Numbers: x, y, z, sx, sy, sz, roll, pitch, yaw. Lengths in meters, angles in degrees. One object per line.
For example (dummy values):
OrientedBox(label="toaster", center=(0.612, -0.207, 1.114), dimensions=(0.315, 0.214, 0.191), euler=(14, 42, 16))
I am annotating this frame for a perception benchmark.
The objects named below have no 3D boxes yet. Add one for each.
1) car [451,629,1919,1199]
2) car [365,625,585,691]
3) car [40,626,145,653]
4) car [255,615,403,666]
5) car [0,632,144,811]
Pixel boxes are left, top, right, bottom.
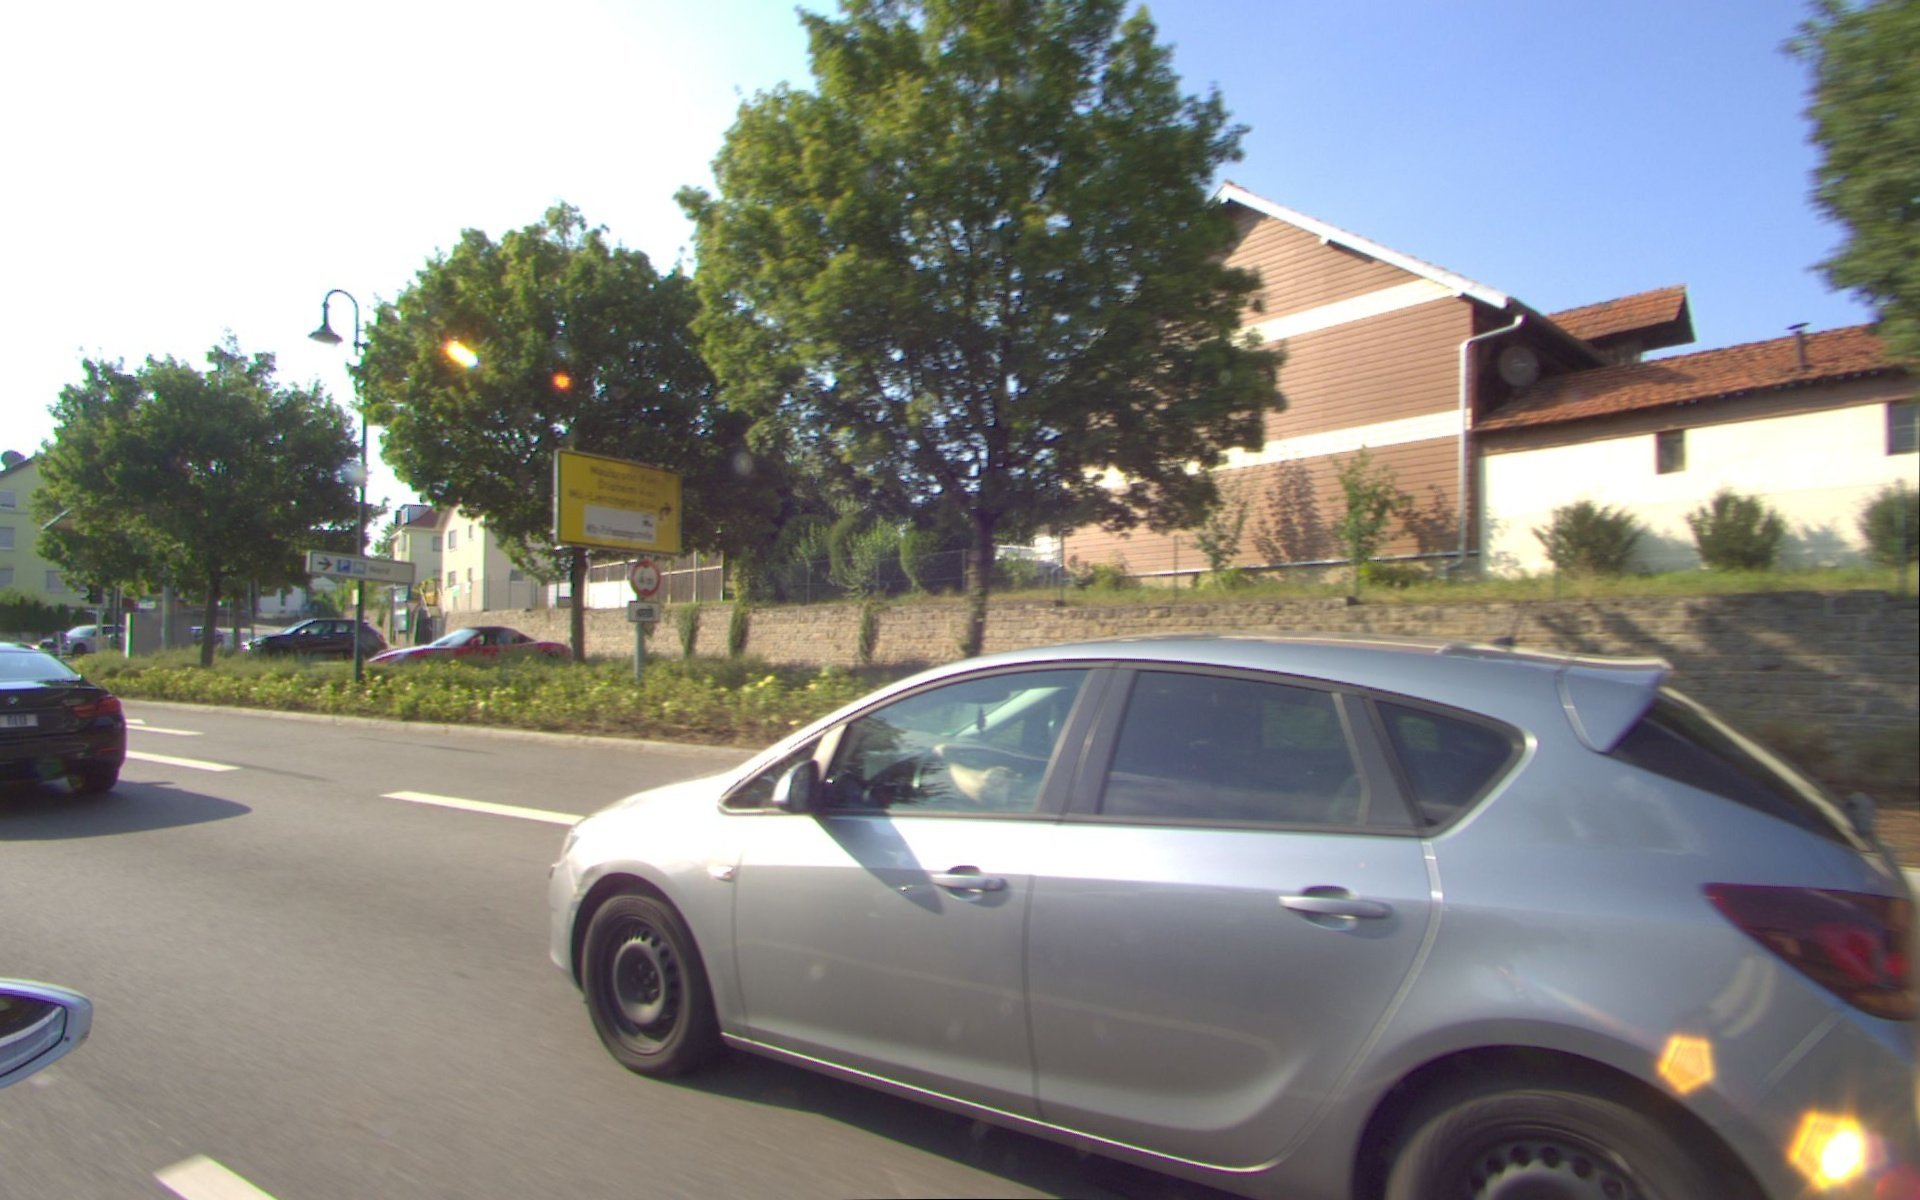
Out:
OrientedBox(label="car", center=(0.249, 0.831, 3.409), dimensions=(4.109, 1.460, 1.740), euler=(-1, -2, 33))
OrientedBox(label="car", center=(-10.490, 1.209, 21.846), dimensions=(1.835, 1.288, 3.965), euler=(-1, -2, 44))
OrientedBox(label="car", center=(-49.127, 2.229, 56.845), dimensions=(1.831, 1.504, 4.661), euler=(0, -2, 2))
OrientedBox(label="car", center=(-21.497, 1.352, 34.186), dimensions=(1.835, 1.628, 3.965), euler=(-1, -2, 44))
OrientedBox(label="car", center=(-9.369, 0.999, 9.111), dimensions=(4.286, 1.406, 1.812), euler=(-1, -2, 33))
